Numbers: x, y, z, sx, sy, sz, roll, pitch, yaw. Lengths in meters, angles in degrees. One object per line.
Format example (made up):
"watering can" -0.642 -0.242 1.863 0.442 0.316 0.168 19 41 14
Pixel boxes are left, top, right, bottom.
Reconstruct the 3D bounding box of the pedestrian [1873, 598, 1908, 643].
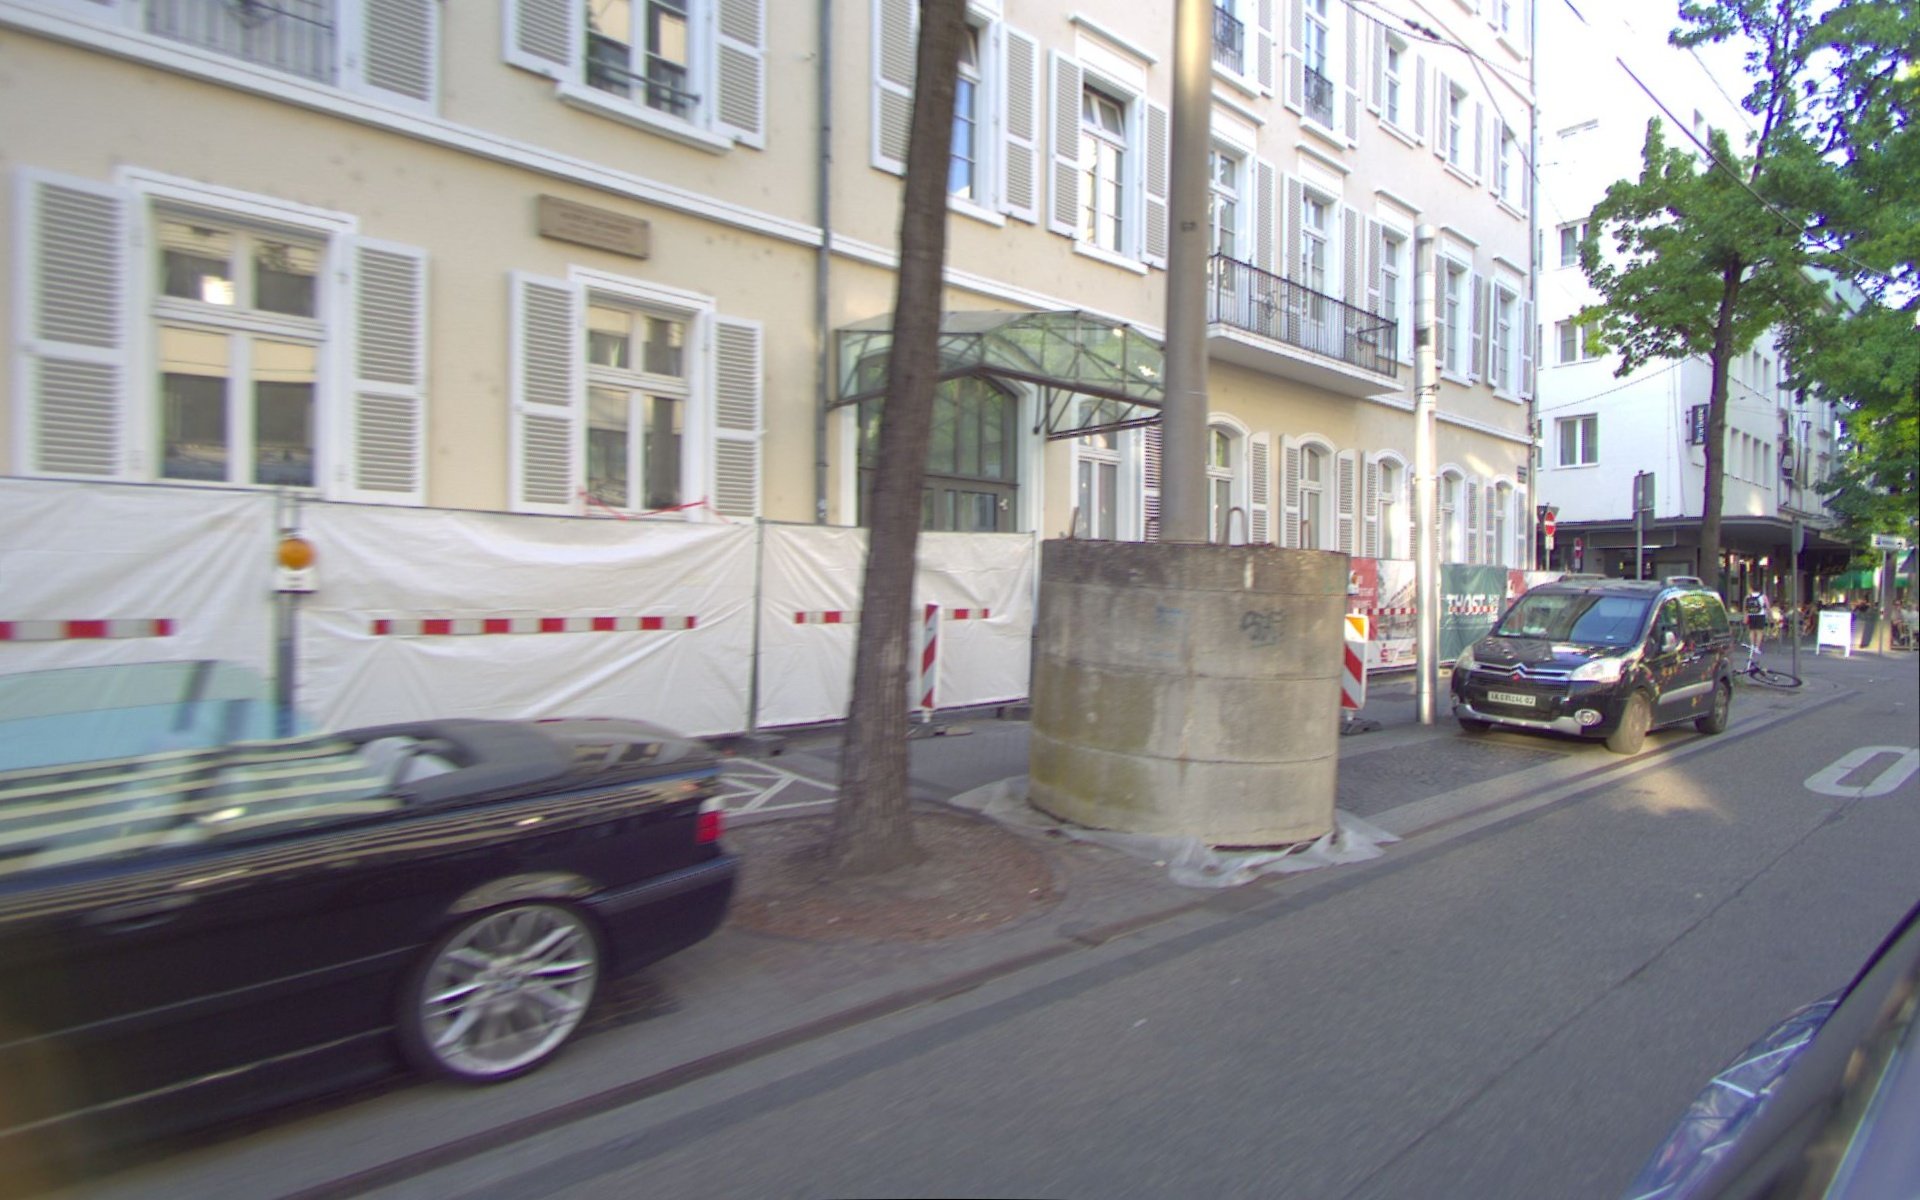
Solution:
"pedestrian" 28.490 0.606 30.997 0.613 1.346 0.716 1 0 -39

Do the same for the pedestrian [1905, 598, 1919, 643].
"pedestrian" 28.944 0.615 30.407 0.613 1.346 0.716 1 0 -39

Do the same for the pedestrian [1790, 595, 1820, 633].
"pedestrian" 30.033 0.485 35.972 0.613 1.346 0.716 1 0 -39

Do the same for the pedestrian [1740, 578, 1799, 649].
"pedestrian" 21.886 0.352 27.369 1.050 1.837 0.946 -2 1 -33

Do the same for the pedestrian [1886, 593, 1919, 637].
"pedestrian" 29.432 0.449 31.586 0.613 1.346 0.716 1 0 -39

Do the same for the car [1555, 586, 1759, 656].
"car" 17.905 0.464 26.148 1.831 1.628 3.944 -2 2 -33

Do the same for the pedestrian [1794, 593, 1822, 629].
"pedestrian" 32.086 0.424 38.287 0.613 1.346 0.716 1 0 -39

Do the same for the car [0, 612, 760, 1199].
"car" -2.920 0.777 2.970 4.254 1.327 1.798 0 3 -41

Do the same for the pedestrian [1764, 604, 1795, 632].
"pedestrian" 28.511 0.628 35.209 0.613 0.944 0.716 0 0 -39

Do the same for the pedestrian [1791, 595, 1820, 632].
"pedestrian" 31.419 0.483 37.622 0.613 1.346 0.716 1 0 -39

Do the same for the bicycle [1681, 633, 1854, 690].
"bicycle" 13.584 1.008 17.084 1.531 0.757 1.761 0 2 -23

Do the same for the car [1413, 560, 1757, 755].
"car" 7.248 0.504 11.597 4.236 1.815 1.958 0 2 -38

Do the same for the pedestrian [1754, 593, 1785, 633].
"pedestrian" 27.563 0.425 34.477 0.613 1.346 0.716 1 0 -39
